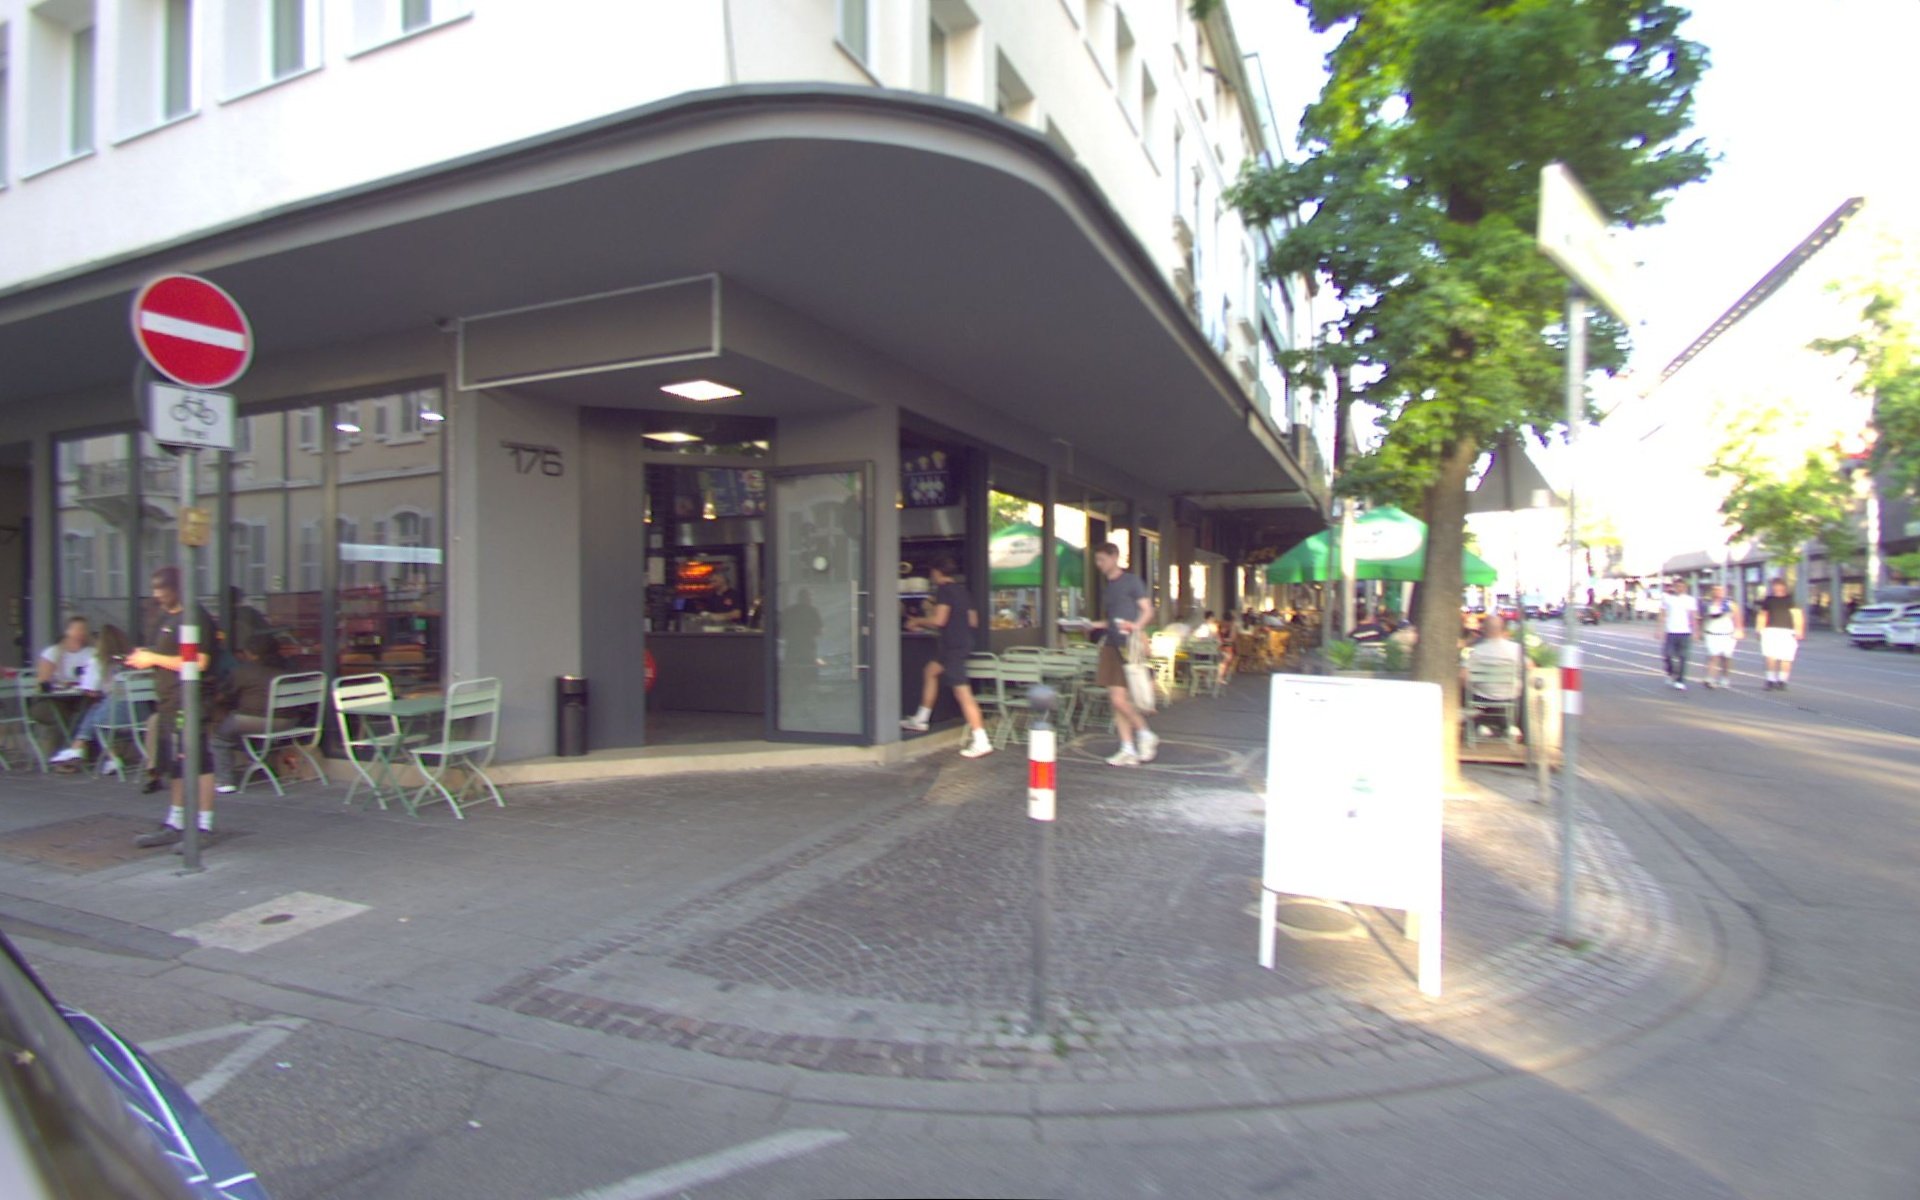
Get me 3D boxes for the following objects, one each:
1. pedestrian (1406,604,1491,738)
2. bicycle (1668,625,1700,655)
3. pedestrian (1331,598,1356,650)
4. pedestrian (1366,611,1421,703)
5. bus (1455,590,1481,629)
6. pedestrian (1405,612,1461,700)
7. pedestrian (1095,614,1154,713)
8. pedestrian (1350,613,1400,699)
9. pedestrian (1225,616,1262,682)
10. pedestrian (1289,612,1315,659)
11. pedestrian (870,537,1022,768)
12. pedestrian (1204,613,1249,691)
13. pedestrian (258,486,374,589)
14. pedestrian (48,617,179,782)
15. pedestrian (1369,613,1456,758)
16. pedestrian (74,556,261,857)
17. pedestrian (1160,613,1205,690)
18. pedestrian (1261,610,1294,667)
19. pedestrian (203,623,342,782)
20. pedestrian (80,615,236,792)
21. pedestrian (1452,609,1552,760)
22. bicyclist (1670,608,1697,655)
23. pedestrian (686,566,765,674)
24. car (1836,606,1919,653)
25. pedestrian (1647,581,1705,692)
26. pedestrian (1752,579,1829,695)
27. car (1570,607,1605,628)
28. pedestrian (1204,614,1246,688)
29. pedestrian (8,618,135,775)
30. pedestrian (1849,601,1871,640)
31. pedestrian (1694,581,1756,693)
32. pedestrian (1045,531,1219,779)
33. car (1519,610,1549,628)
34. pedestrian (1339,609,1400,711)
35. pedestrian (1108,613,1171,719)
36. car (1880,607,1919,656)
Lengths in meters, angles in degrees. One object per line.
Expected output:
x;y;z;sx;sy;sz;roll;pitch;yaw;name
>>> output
5.265;0.743;10.947;0.726;1.369;0.709;-1;0;21;pedestrian
28.940;1.594;40.488;0.508;1.159;2.042;-1;-1;20;bicycle
12.047;0.750;31.785;0.705;1.619;0.874;-1;-1;22;pedestrian
6.694;0.870;15.661;0.726;1.369;0.709;-1;0;21;pedestrian
46.336;0.858;92.442;1.989;3.443;8.498;0;-1;26;bus
7.621;0.893;16.330;0.726;1.369;0.709;-1;0;21;pedestrian
2.228;0.840;13.634;0.649;1.269;0.669;-1;0;21;pedestrian
6.861;0.906;16.758;0.726;1.369;0.709;-1;0;21;pedestrian
5.710;0.977;20.346;0.649;1.269;0.669;-1;0;21;pedestrian
9.604;0.985;28.381;0.649;1.269;0.669;-1;0;21;pedestrian
-0.106;0.453;9.092;1.061;1.916;1.022;-1;-2;22;pedestrian
4.507;0.870;17.107;0.649;1.269;0.669;-1;0;21;pedestrian
-15.169;-1.367;24.047;1.965;2.029;4.013;1;-2;-28;pedestrian
-7.034;0.796;8.415;0.709;1.285;0.570;-1;0;25;pedestrian
4.441;0.813;9.975;0.708;1.338;0.726;-1;0;21;pedestrian
-4.609;0.595;5.918;0.678;1.680;0.506;-1;0;0;pedestrian
3.830;0.879;17.429;0.649;1.269;0.669;-1;0;21;pedestrian
7.295;0.882;23.242;0.649;1.269;0.669;-1;0;21;pedestrian
-5.211;0.751;7.681;0.709;1.122;0.570;-1;0;25;pedestrian
-6.267;0.772;7.926;0.709;1.285;0.698;-1;0;25;pedestrian
5.175;0.781;9.711;0.726;1.369;0.709;-1;0;21;pedestrian
28.931;1.251;40.481;0.650;1.869;0.984;-1;-1;22;bicyclist
-2.853;0.237;12.340;0.649;1.269;0.669;-1;0;21;pedestrian
32.451;0.953;34.178;3.939;1.517;1.952;-2;-3;-2;car
12.755;0.650;18.056;0.710;1.916;1.058;-1;-2;31;pedestrian
14.263;0.629;17.408;0.824;1.916;1.058;-1;-2;31;pedestrian
48.156;1.335;77.715;1.661;1.554;3.477;-1;-1;21;car
4.748;0.903;18.135;0.649;1.269;0.669;-1;0;21;pedestrian
-7.715;0.808;8.795;0.709;1.285;0.570;-1;0;25;pedestrian
43.505;1.000;48.931;0.592;1.854;0.608;-1;-1;22;pedestrian
13.587;0.648;17.999;0.710;1.916;1.058;-1;-2;31;pedestrian
1.454;0.447;8.574;1.053;1.916;1.031;2;-3;-44;pedestrian
55.453;1.822;97.800;1.916;1.653;3.697;-1;-2;20;car
5.691;0.817;14.100;0.726;1.369;0.709;-1;0;21;pedestrian
2.260;0.809;12.698;0.649;1.269;0.669;-1;0;21;pedestrian
31.614;0.908;31.581;3.939;1.517;1.952;-2;-3;-2;car
